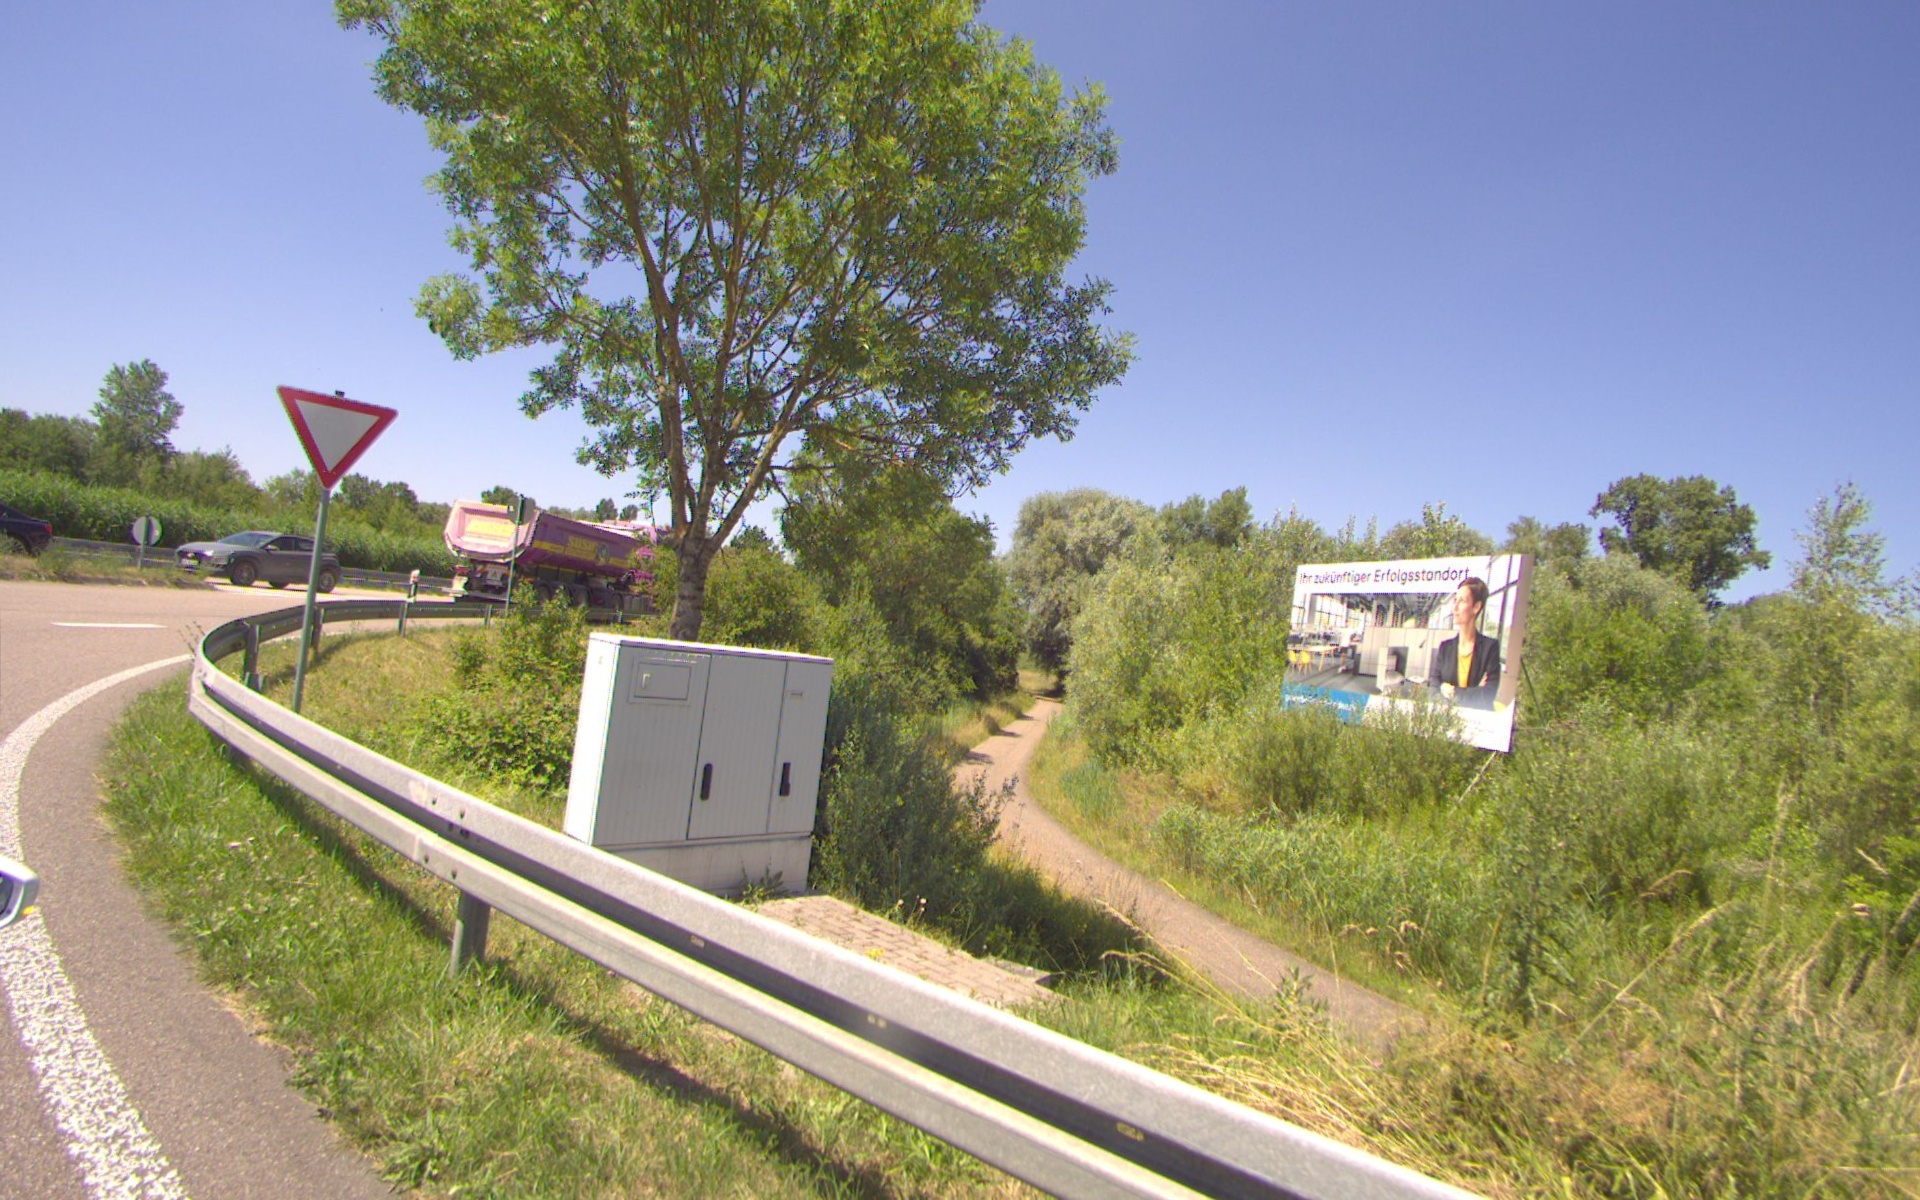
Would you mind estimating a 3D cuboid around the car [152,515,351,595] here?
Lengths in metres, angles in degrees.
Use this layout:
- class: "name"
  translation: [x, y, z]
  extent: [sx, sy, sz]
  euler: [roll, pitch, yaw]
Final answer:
- class: "car"
  translation: [-19.413, -1.173, 27.837]
  extent: [1.897, 1.651, 4.242]
  euler: [7, -1, 11]

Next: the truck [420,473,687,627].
- class: "truck"
  translation: [-12.704, -1.221, 33.345]
  extent: [2.789, 3.867, 11.892]
  euler: [7, -1, 5]

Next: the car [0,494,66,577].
- class: "car"
  translation: [-21.188, -1.545, 19.925]
  extent: [1.897, 1.651, 4.945]
  euler: [7, -1, 12]
